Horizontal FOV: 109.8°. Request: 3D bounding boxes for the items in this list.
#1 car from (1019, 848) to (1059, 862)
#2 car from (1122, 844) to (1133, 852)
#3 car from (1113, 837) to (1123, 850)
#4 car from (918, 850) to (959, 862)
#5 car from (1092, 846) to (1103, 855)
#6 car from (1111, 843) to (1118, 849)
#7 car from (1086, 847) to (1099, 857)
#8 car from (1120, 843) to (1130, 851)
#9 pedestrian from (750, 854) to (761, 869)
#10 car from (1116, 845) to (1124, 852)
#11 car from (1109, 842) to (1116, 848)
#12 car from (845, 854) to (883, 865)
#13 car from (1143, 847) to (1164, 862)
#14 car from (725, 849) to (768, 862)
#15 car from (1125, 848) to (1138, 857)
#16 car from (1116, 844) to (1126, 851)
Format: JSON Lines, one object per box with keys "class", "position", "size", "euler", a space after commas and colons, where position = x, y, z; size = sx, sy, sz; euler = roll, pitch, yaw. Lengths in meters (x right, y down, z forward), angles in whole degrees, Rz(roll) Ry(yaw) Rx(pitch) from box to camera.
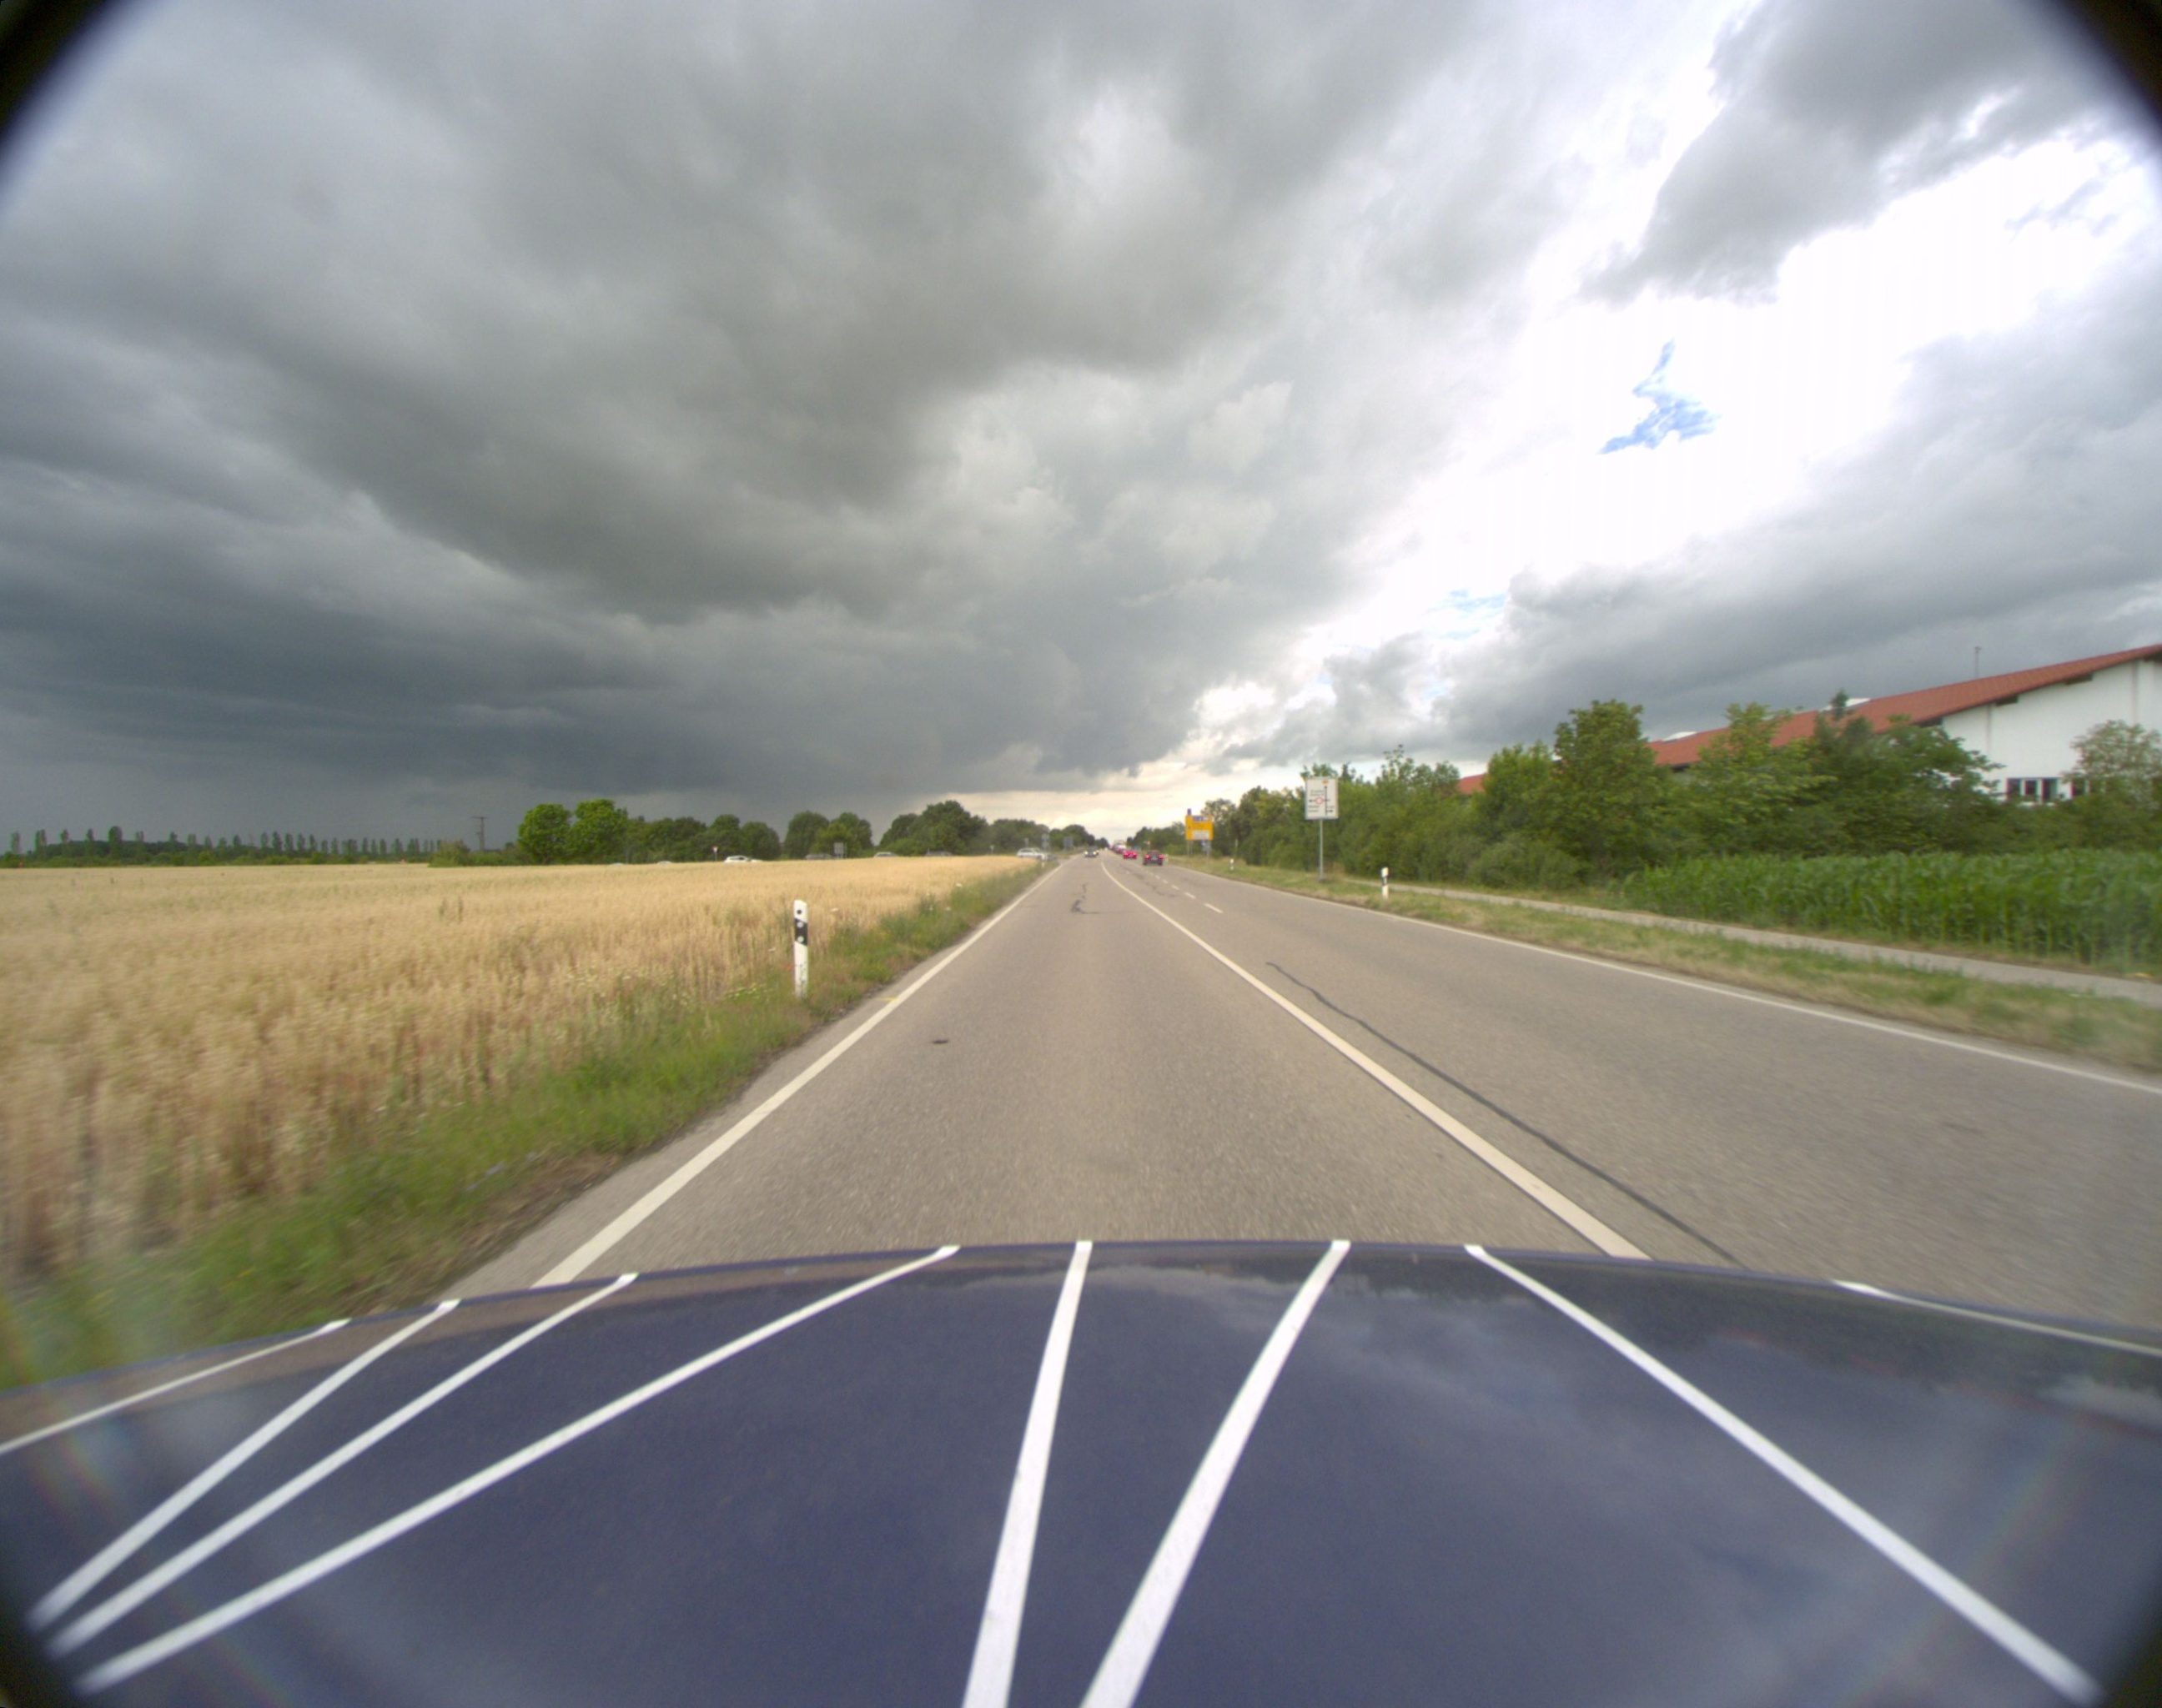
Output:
{"class": "car", "position": [-4.957, 0.116, 89.191], "size": [4.381, 1.578, 2.000], "euler": [1, 3, 33]}
{"class": "car", "position": [8.305, -1.145, 136.784], "size": [1.734, 1.423, 3.934], "euler": [1, 1, 1]}
{"class": "car", "position": [9.383, -2.624, 191.221], "size": [2.339, 3.011, 6.558], "euler": [1, 0, 1]}
{"class": "car", "position": [-17.740, 0.304, 94.528], "size": [4.688, 1.346, 1.722], "euler": [-1, 3, 8]}
{"class": "car", "position": [3.040, -0.613, 138.670], "size": [1.998, 1.474, 3.999], "euler": [-1, 1, 1]}
{"class": "car", "position": [9.893, -2.399, 224.643], "size": [1.856, 1.740, 4.000], "euler": [-1, 0, 1]}
{"class": "car", "position": [1.754, -0.287, 117.696], "size": [1.998, 1.474, 3.999], "euler": [-1, 1, 1]}
{"class": "car", "position": [9.924, -1.617, 170.722], "size": [2.111, 1.875, 5.390], "euler": [0, 1, 1]}
{"class": "pedestrian", "position": [-35.980, 0.849, 84.076], "size": [0.945, 1.602, 0.772], "euler": [-1, 1, -12]}
{"class": "car", "position": [8.300, -1.233, 162.212], "size": [1.676, 1.393, 4.089], "euler": [0, 0, 2]}
{"class": "car", "position": [10.581, -2.977, 254.790], "size": [2.339, 1.911, 4.875], "euler": [-1, 0, 1]}
{"class": "car", "position": [-27.319, 0.702, 95.548], "size": [4.209, 1.345, 1.723], "euler": [-1, 1, 5]}
{"class": "car", "position": [6.980, 0.033, 73.844], "size": [1.673, 1.421, 4.302], "euler": [1, 1, 1]}
{"class": "car", "position": [-42.533, 0.144, 96.666], "size": [4.633, 1.486, 1.722], "euler": [-1, 3, 5]}
{"class": "car", "position": [7.458, -0.281, 111.660], "size": [1.775, 1.234, 4.211], "euler": [0, 1, 2]}
{"class": "car", "position": [9.329, -1.571, 178.214], "size": [1.998, 1.614, 4.261], "euler": [2, 0, 0]}
